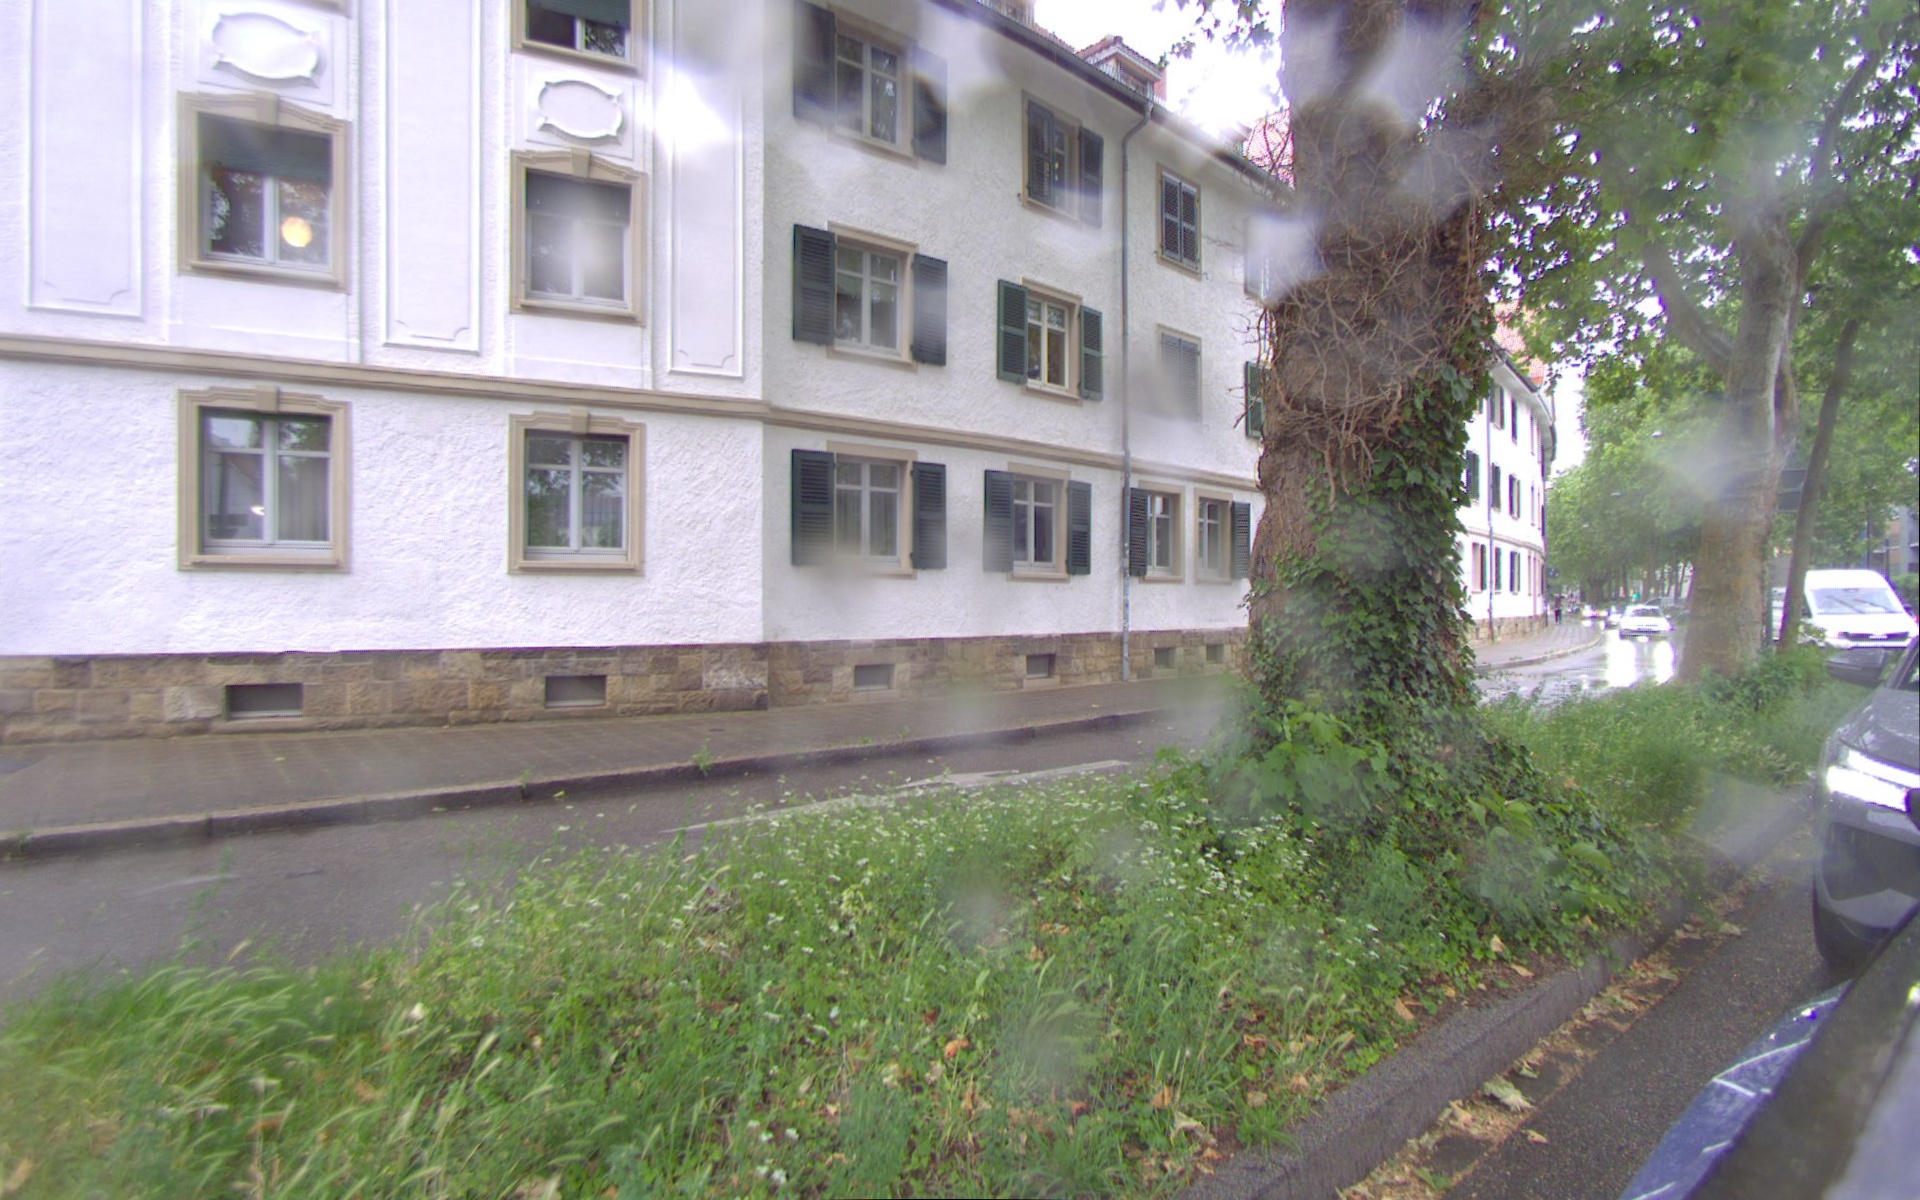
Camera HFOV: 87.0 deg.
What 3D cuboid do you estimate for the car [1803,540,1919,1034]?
[{"bbox_3d":[5.133,0.619,4.319,4.039,1.662,1.913,0,0,-44],"label":"car"}]

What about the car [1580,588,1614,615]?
[{"bbox_3d":[54.826,0.106,87.187,1.983,2.038,3.961,5,3,28],"label":"car"}]

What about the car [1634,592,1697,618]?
[{"bbox_3d":[55.856,0.371,80.227,3.969,2.039,1.977,0,-1,32],"label":"car"}]

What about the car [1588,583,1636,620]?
[{"bbox_3d":[39.959,0.055,62.068,1.983,2.038,3.961,5,3,28],"label":"car"}]

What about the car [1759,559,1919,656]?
[{"bbox_3d":[23.323,0.157,26.740,2.173,2.291,5.367,1,1,24],"label":"car"}]

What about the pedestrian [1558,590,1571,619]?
[{"bbox_3d":[38.542,0.299,64.503,0.668,1.845,0.672,0,0,31],"label":"pedestrian"}]

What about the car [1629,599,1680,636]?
[{"bbox_3d":[31.096,0.738,45.367,1.820,1.545,3.952,0,1,34],"label":"car"}]

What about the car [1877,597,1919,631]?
[{"bbox_3d":[43.845,0.627,46.503,1.704,1.478,3.710,0,0,29],"label":"car"}]
